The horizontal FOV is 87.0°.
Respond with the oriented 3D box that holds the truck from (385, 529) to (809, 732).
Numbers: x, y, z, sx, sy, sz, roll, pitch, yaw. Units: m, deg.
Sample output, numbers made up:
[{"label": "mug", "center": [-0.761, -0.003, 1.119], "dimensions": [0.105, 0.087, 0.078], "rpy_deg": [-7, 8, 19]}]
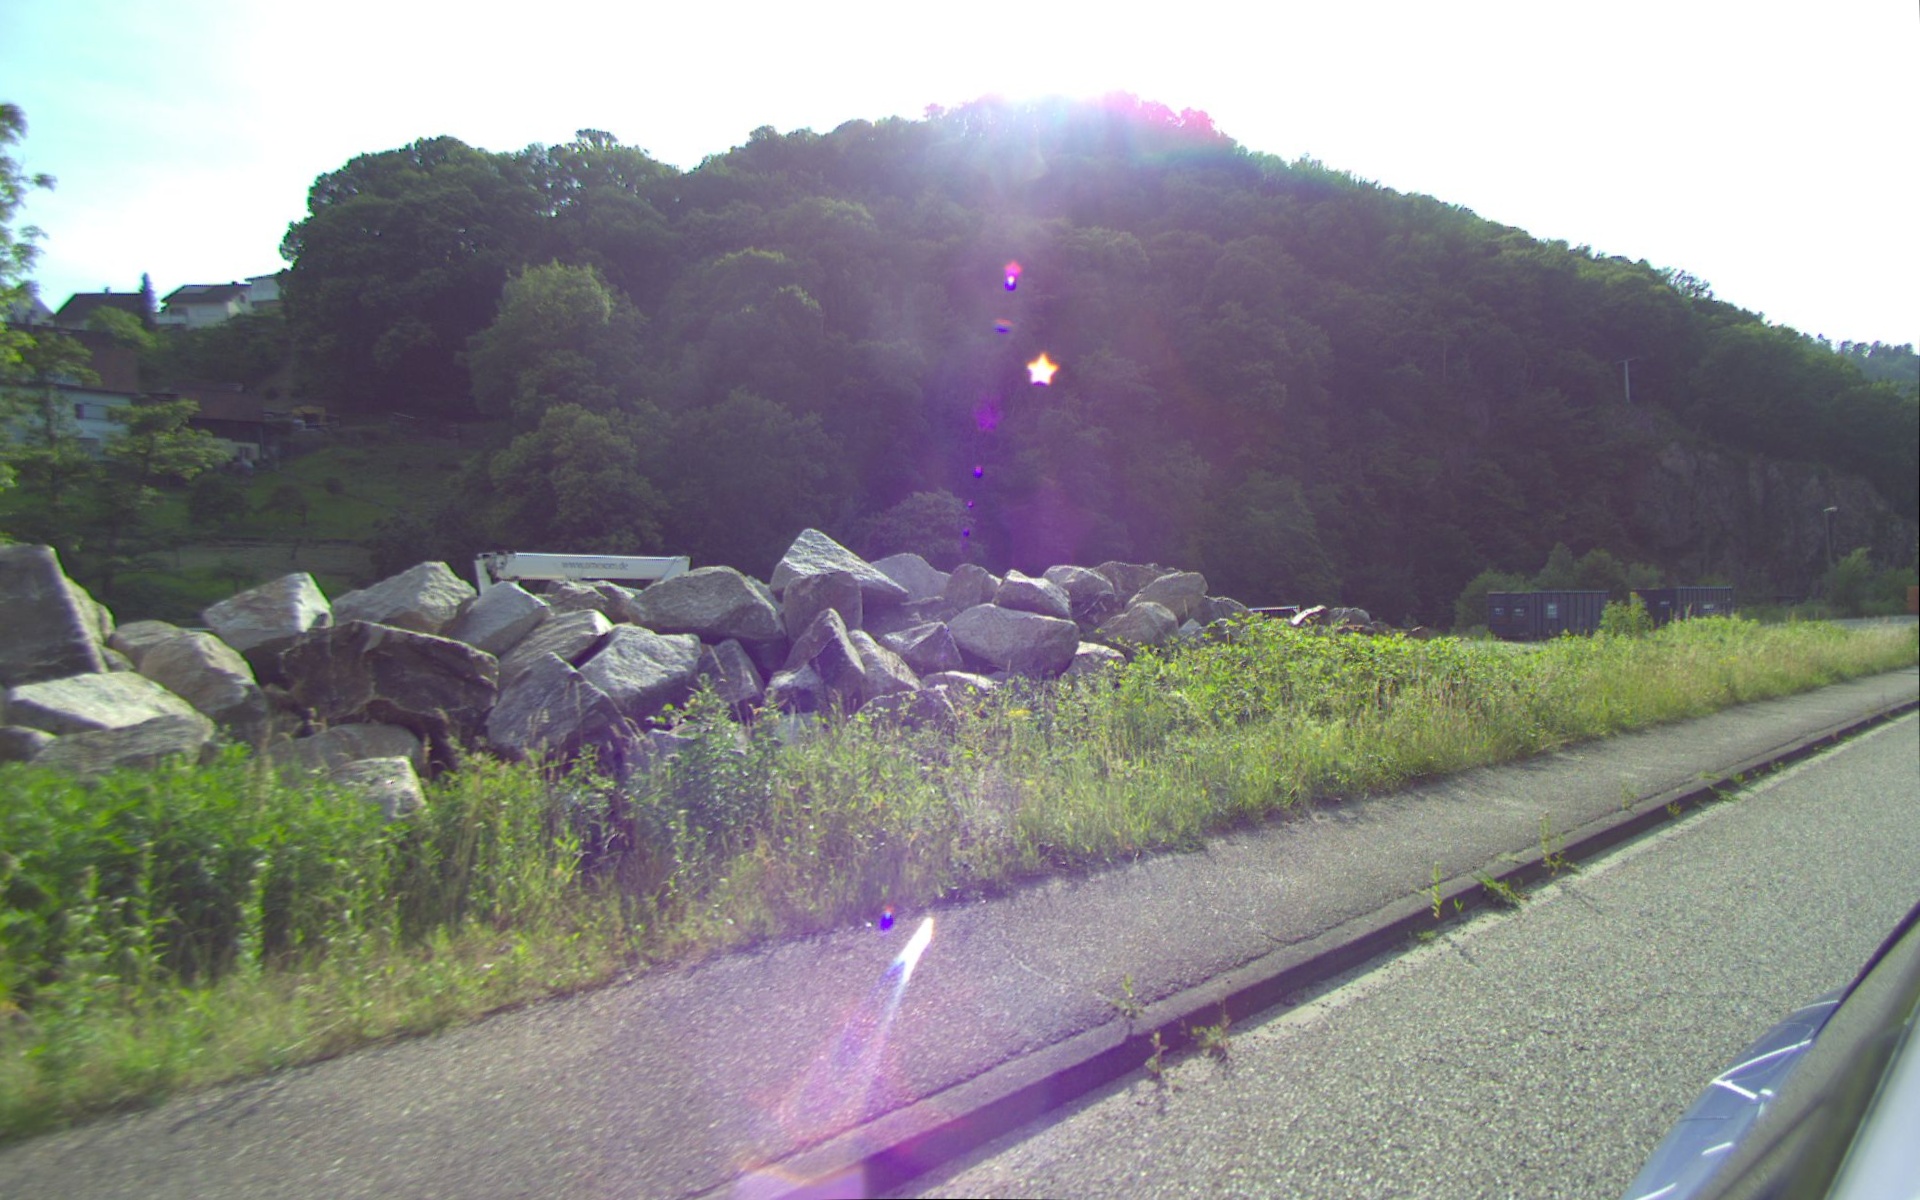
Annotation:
[{"label": "truck", "center": [-7.971, 0.584, 22.973], "dimensions": [8.485, 3.831, 3.110], "rpy_deg": [-1, -2, -37]}]
